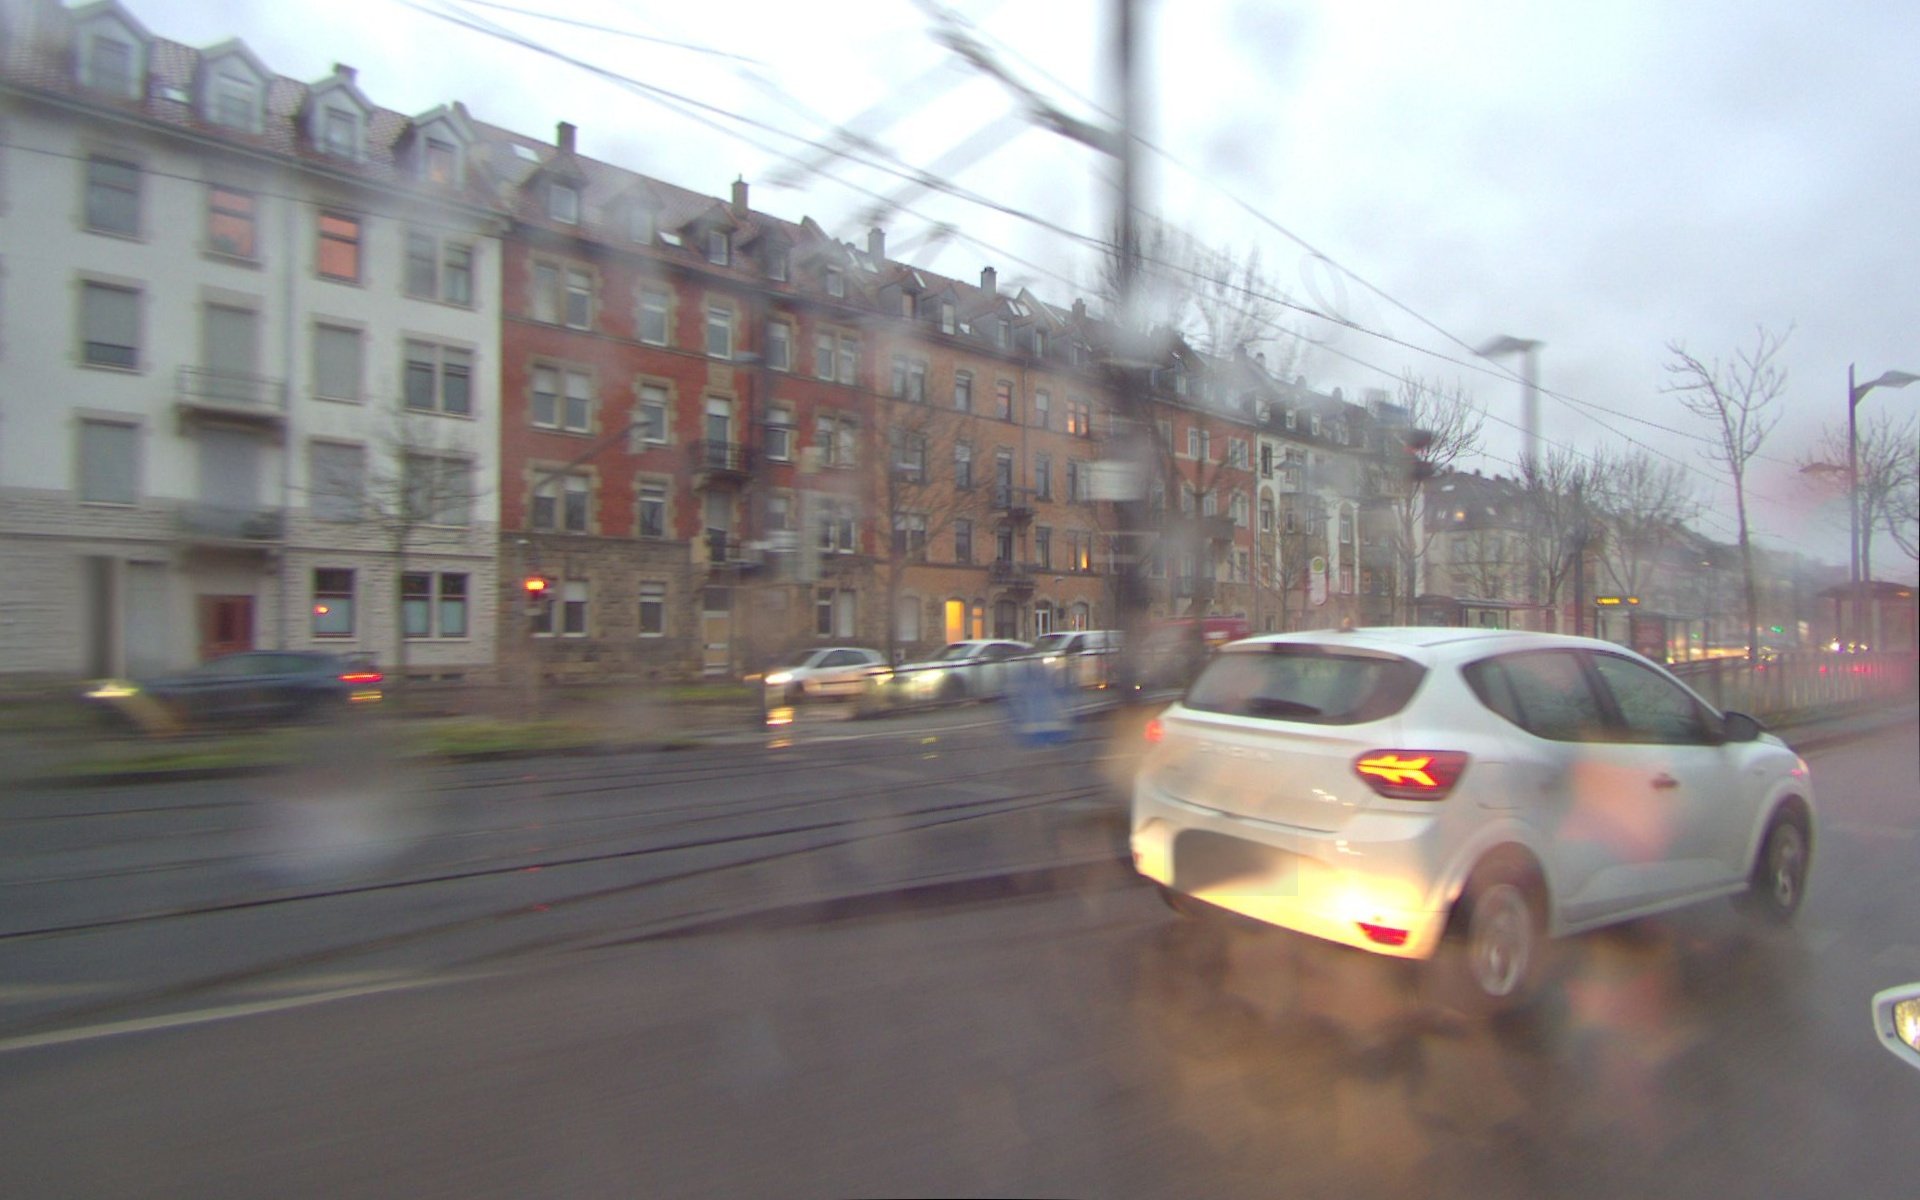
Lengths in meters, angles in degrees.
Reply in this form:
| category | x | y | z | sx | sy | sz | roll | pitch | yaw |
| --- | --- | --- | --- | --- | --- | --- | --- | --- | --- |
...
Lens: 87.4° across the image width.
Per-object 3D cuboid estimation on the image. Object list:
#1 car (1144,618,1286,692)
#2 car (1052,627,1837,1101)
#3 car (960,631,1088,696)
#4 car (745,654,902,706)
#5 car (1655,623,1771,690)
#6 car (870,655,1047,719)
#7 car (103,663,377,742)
| category | x | y | z | sx | sy | sz | roll | pitch | yaw |
| --- | --- | --- | --- | --- | --- | --- | --- | --- | --- |
| car | 8.739 | 1.833 | 34.143 | 5.222 | 2.339 | 1.978 | 1 | -3 | -40 |
| car | 2.532 | 0.910 | 4.990 | 3.954 | 1.506 | 1.618 | 1 | -2 | -31 |
| car | 2.103 | 2.011 | 32.397 | 3.915 | 1.966 | 1.975 | 2 | -3 | -43 |
| car | -3.617 | 2.108 | 26.999 | 4.056 | 1.243 | 1.523 | 2 | -3 | -42 |
| car | 22.212 | 1.643 | 29.584 | 3.970 | 1.846 | 1.976 | 2 | -4 | -42 |
| car | 0.036 | 1.906 | 22.771 | 4.058 | 1.262 | 1.522 | 2 | -3 | -43 |
| car | -13.421 | 1.855 | 18.912 | 4.053 | 1.243 | 1.524 | 2 | -3 | -40 |
